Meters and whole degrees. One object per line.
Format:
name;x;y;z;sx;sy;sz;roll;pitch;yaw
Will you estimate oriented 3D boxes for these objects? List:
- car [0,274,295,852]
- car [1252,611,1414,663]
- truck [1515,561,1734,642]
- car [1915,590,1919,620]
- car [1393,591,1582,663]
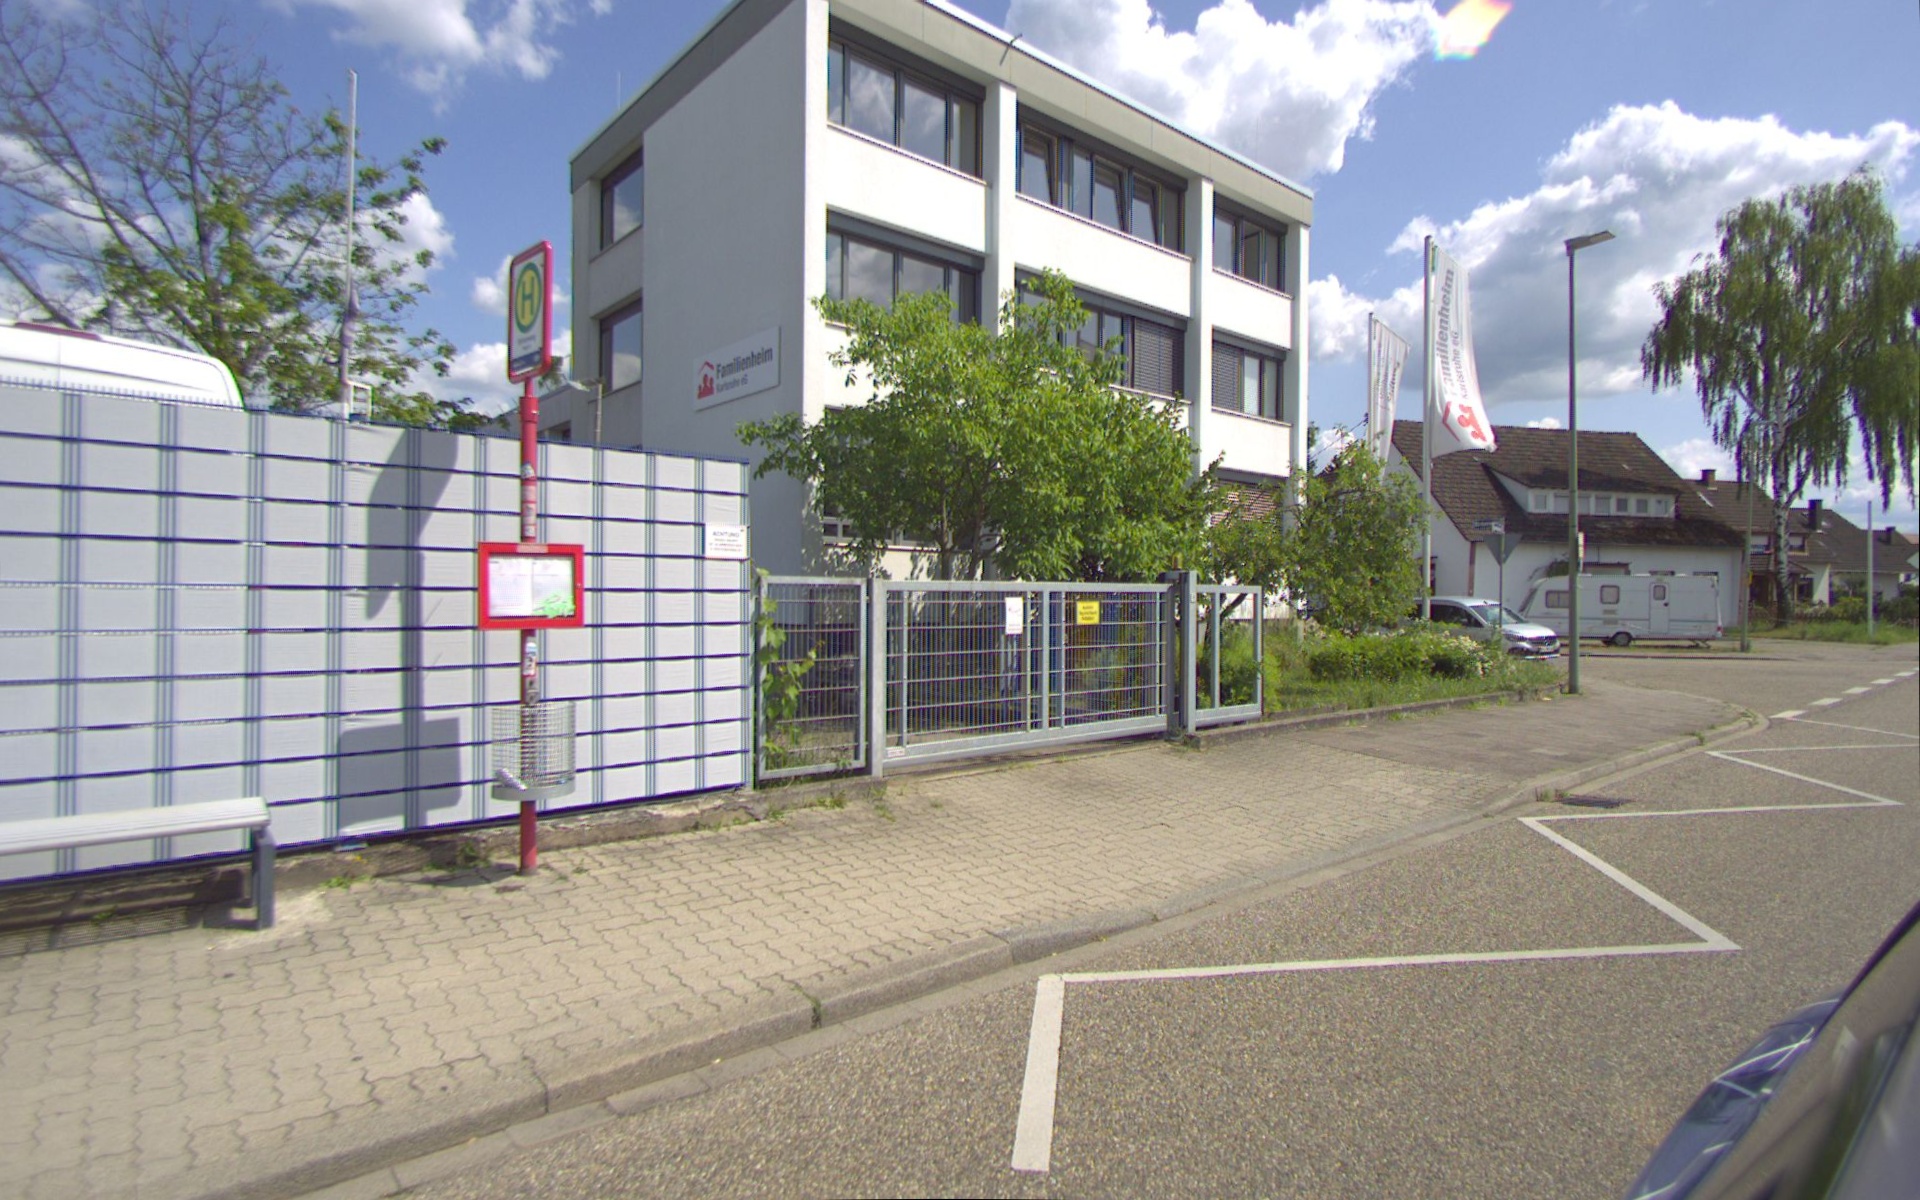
car;-6.140;-0.196;6.501;4.905;2.685;2.041;1;0;43
car;11.789;1.116;32.253;1.727;1.445;4.625;-2;1;-37
truck;22.834;0.064;35.176;5.993;2.610;2.545;0;-1;24
car;63.625;0.350;65.984;4.939;1.889;1.857;0;0;-45
car;14.175;0.651;27.503;1.826;1.774;4.418;-1;1;-22
